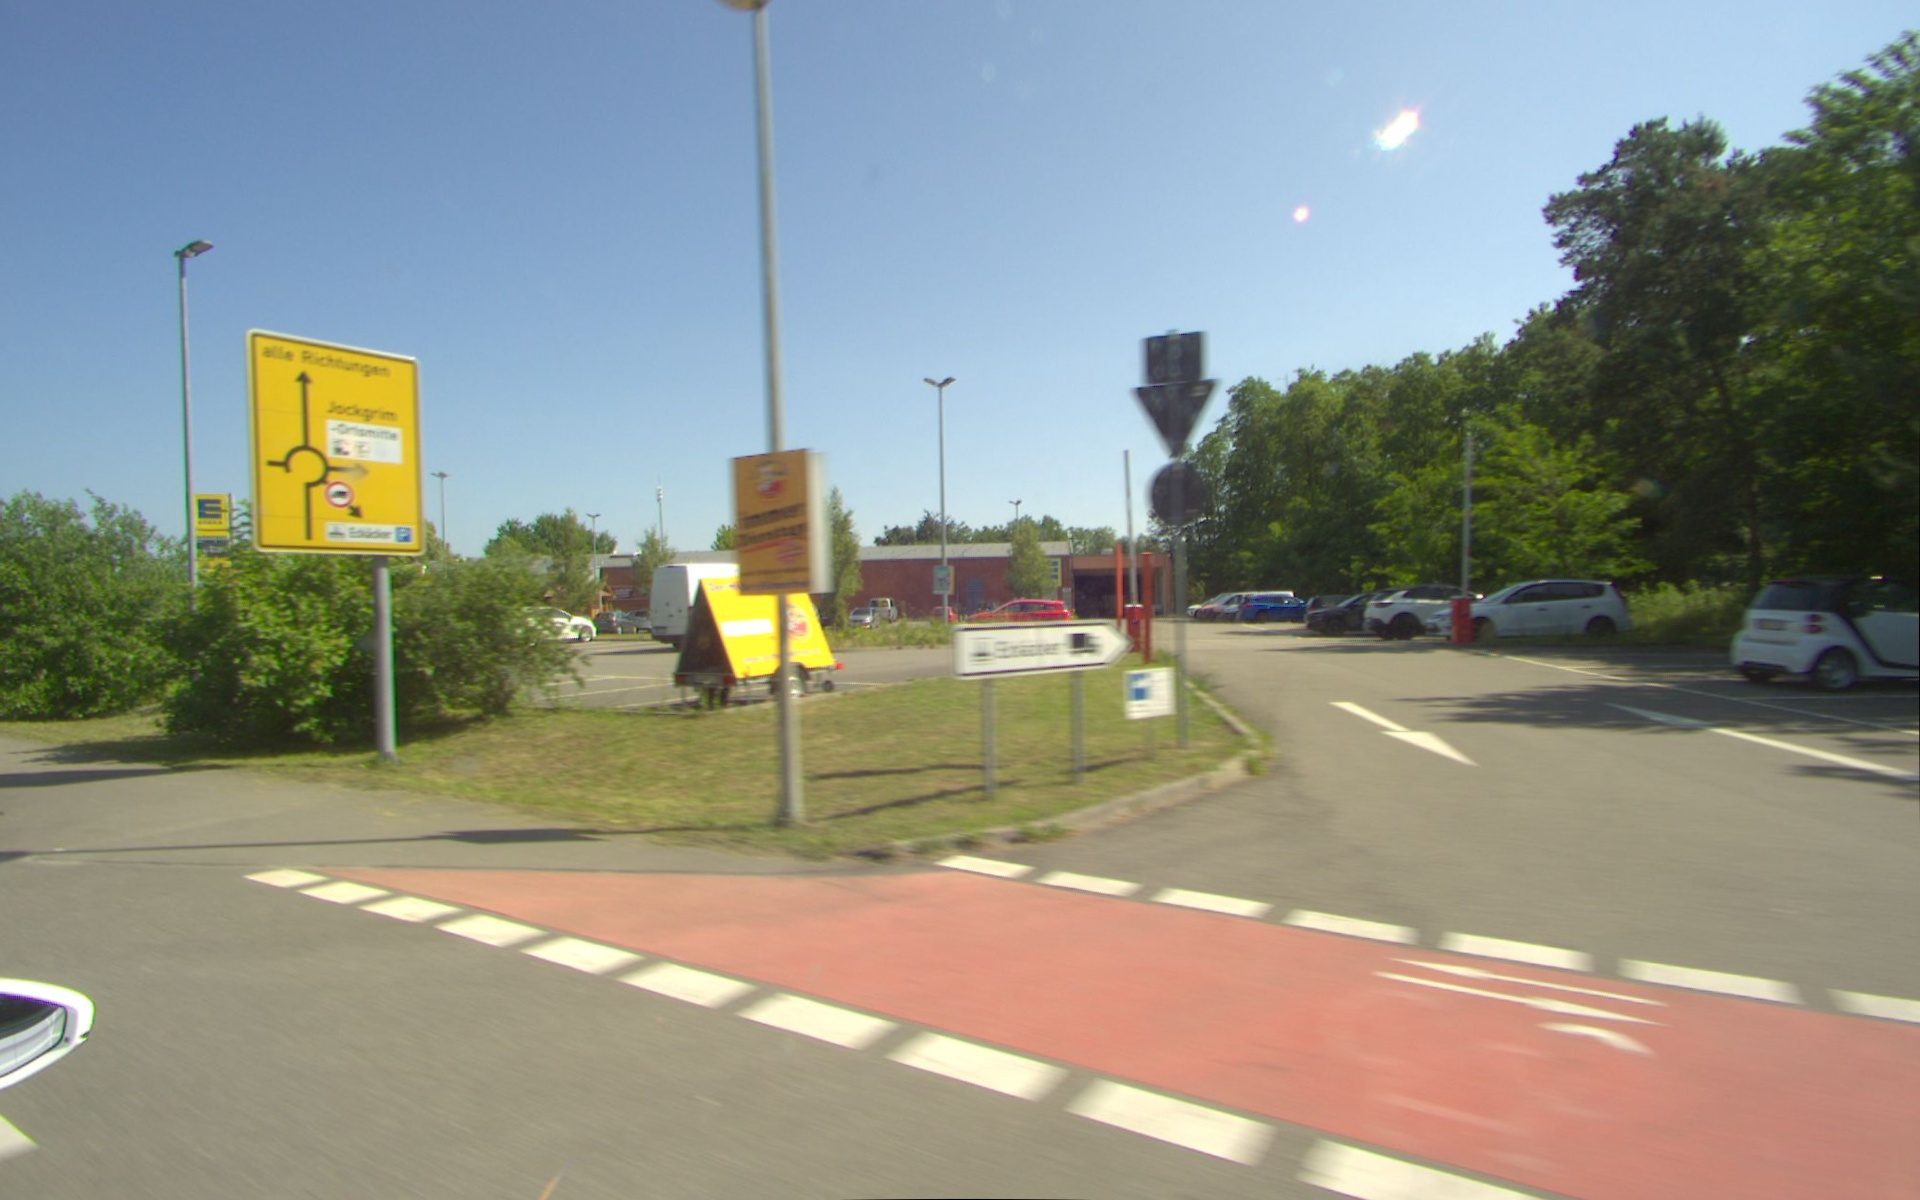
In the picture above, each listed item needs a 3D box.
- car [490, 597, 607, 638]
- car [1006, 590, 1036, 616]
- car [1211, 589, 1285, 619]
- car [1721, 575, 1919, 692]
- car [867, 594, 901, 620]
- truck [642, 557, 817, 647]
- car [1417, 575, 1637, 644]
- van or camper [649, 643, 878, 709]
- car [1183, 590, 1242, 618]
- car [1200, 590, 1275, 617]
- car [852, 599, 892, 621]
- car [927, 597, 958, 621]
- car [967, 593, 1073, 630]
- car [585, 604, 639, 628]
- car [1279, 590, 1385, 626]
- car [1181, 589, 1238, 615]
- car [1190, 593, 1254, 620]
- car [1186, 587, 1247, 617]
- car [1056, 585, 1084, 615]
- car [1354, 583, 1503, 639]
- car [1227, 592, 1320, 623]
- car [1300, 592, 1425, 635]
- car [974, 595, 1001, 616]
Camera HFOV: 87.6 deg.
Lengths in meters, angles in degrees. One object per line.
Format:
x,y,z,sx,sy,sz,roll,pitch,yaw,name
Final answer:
-15.694,0.647,38.383,1.873,1.472,3.963,0,0,23,car
4.924,0.228,80.109,1.962,2.040,3.998,0,0,10,car
16.963,0.232,59.204,3.923,1.734,2.070,-1,1,7,car
12.676,0.432,14.028,2.786,1.539,1.597,-1,1,5,car
-6.054,0.570,80.347,1.961,2.040,3.998,-1,0,8,car
-7.271,0.025,32.315,2.171,2.640,5.586,0,1,32,truck
13.644,0.228,24.297,4.289,1.551,1.759,-1,1,6,car
-2.910,1.105,15.272,1.790,0.622,3.083,1,2,34,van or camper
18.122,0.282,71.946,3.923,1.891,1.942,-1,1,7,car
17.021,0.202,61.559,4.178,1.617,1.795,-1,1,6,car
-6.080,0.667,69.881,1.876,1.461,3.998,0,0,9,car
-1.207,0.604,70.064,1.766,1.539,3.999,-1,1,5,car
2.559,0.465,42.817,4.407,1.485,1.999,-1,1,3,car
-23.093,1.040,66.689,1.930,1.506,3.999,0,0,5,car
16.023,0.338,43.283,3.923,1.506,2.070,-1,1,7,car
18.618,0.153,74.992,3.923,1.825,1.942,-1,1,7,car
17.408,0.423,66.728,3.923,1.734,1.942,-1,1,7,car
17.793,0.159,69.589,3.923,2.000,1.942,-1,1,7,car
8.807,0.001,79.685,1.962,2.276,4.022,0,0,10,car
13.704,0.319,29.466,3.594,1.551,1.759,-1,1,6,car
15.965,0.380,51.189,4.289,1.506,1.662,-1,1,7,car
14.948,0.493,37.416,3.923,1.506,2.070,-1,1,7,car
2.247,0.405,80.360,1.748,1.662,3.771,-1,0,9,car
